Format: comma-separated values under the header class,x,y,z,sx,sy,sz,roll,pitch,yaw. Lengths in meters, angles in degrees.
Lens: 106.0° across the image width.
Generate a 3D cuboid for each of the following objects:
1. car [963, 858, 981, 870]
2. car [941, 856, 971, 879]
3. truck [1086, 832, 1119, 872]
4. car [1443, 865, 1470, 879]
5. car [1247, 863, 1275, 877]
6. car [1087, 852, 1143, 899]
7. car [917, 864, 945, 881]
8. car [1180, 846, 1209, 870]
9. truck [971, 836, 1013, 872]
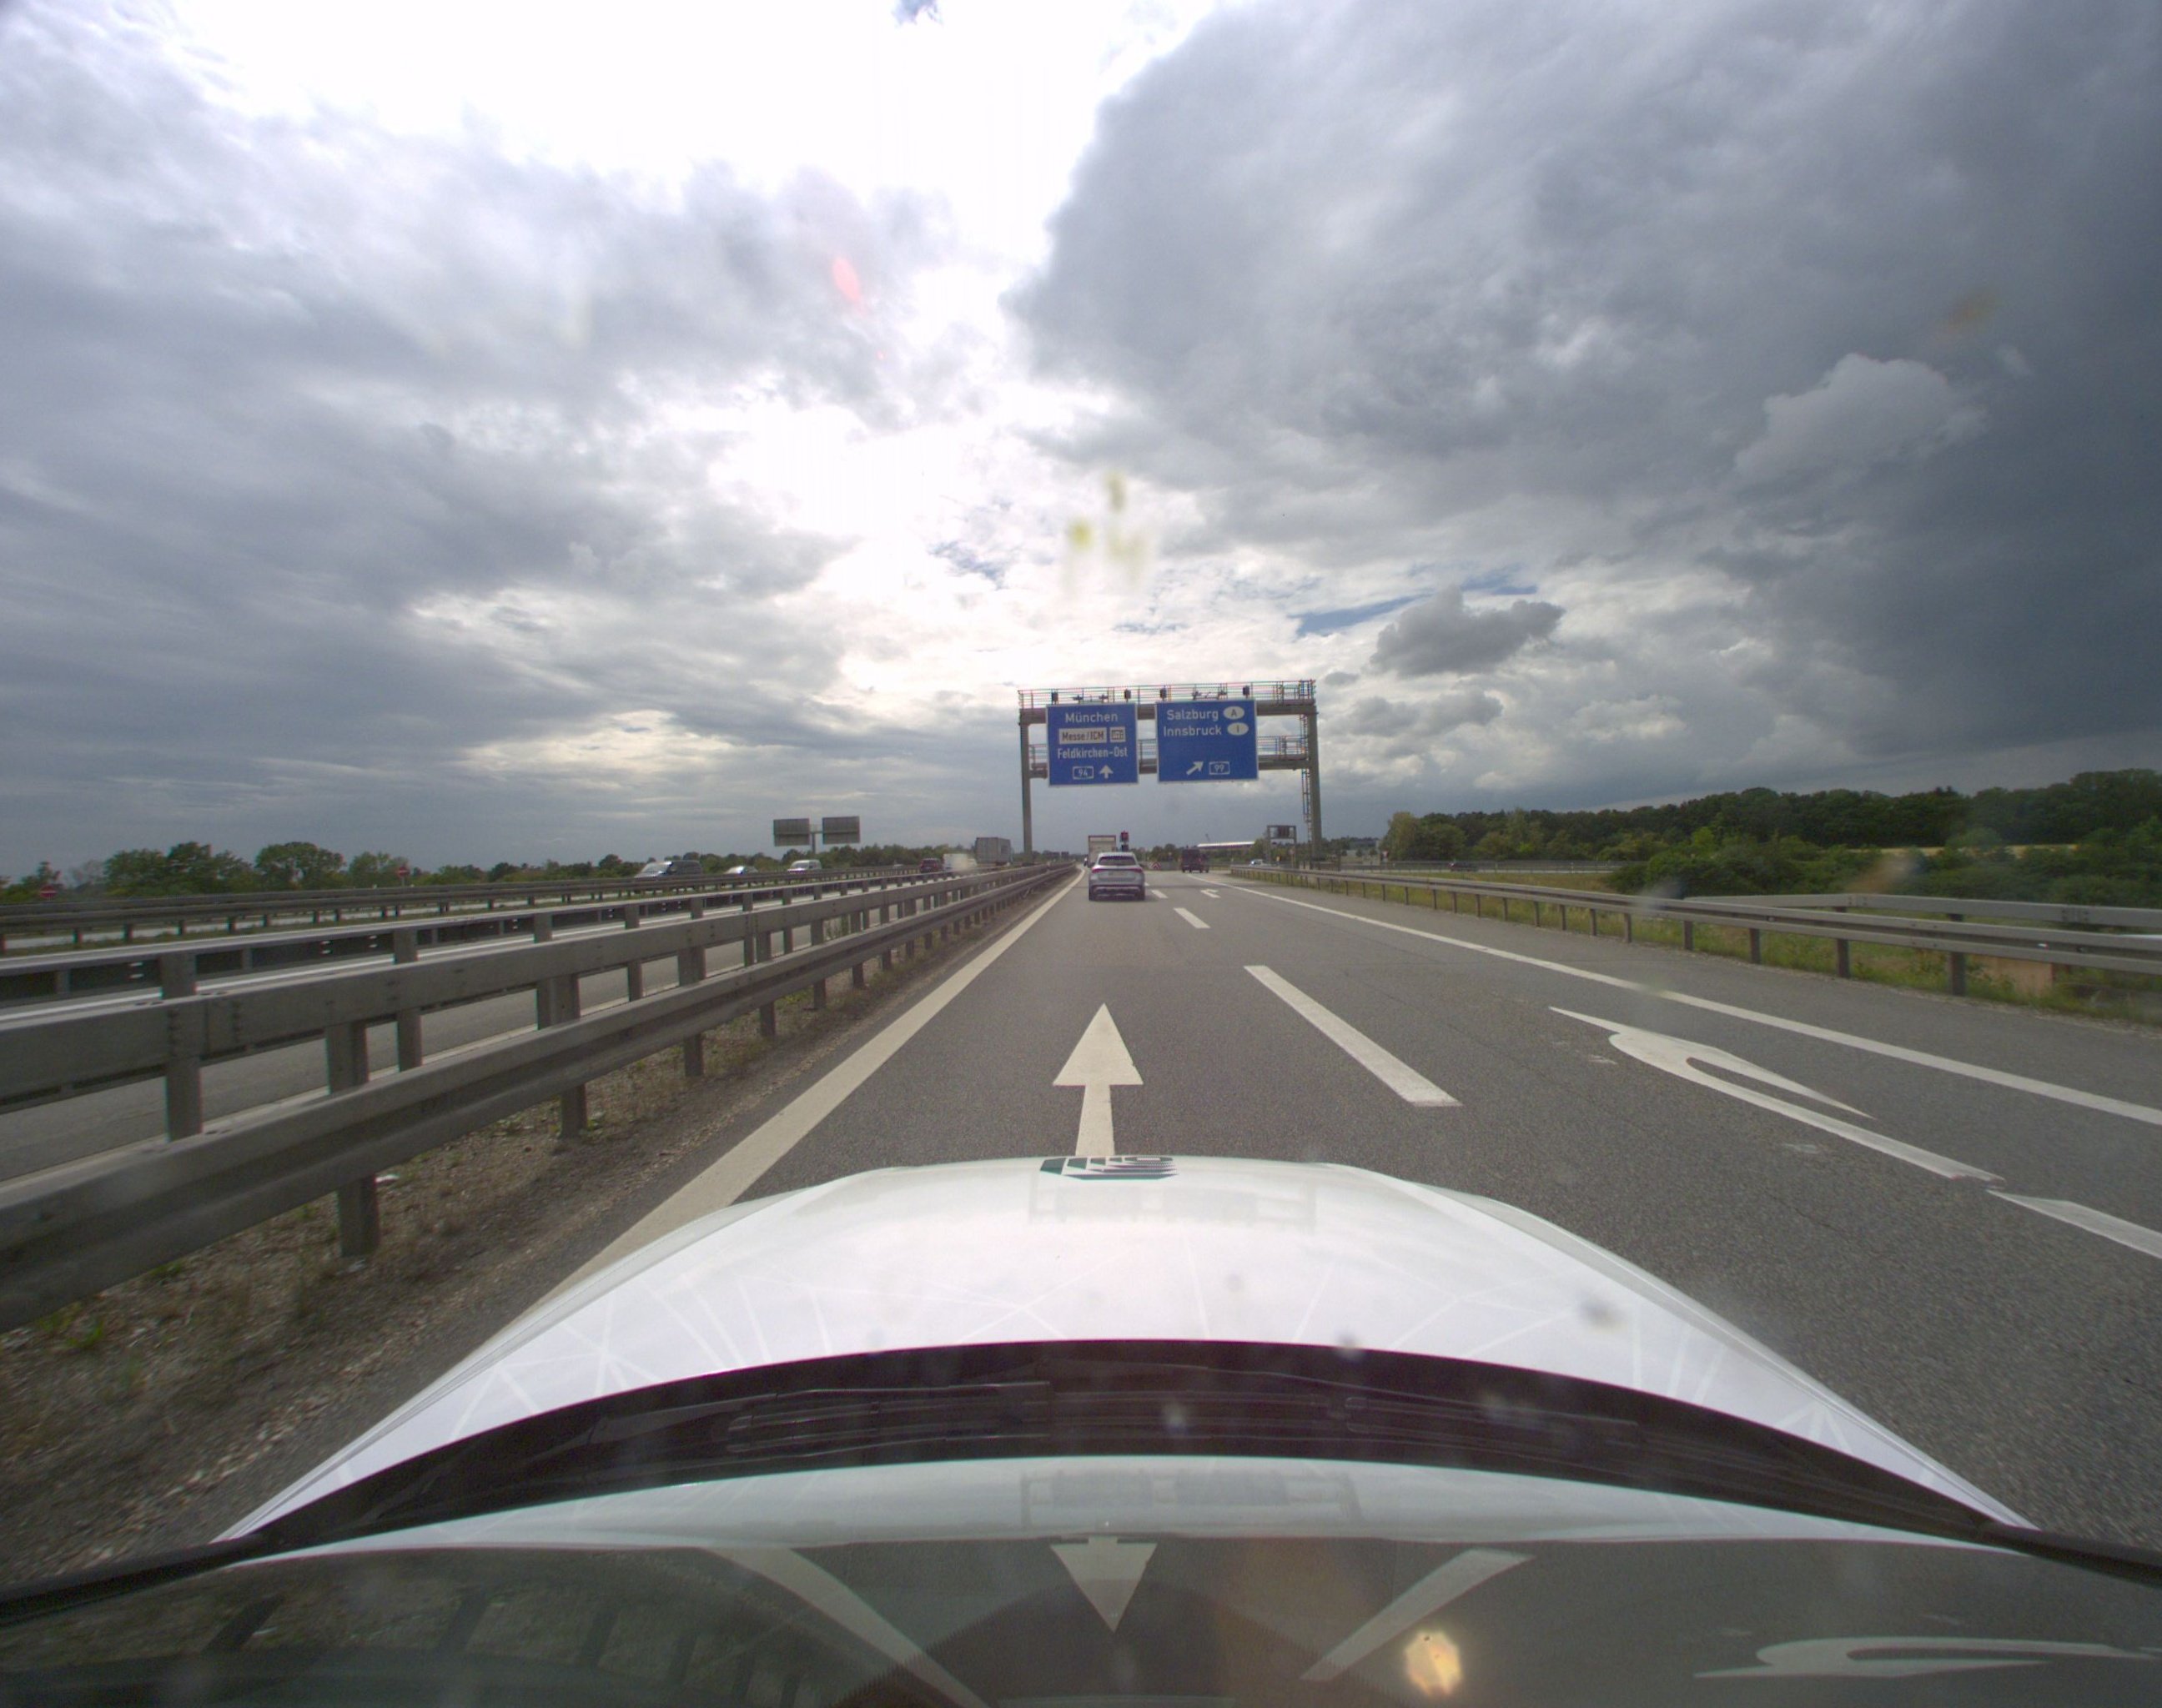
class,x,y,z,sx,sy,sz,roll,pitch,yaw
car,-14.384,1.295,108.022,1.791,1.420,4.001,0,0,1
car,-11.567,1.203,75.621,1.986,2.013,4.376,0,0,2
truck,1.815,-0.067,68.234,2.559,3.126,8.637,0,-1,2
car,58.508,2.752,126.893,4.007,2.014,1.768,3,-1,-26
car,23.068,2.000,104.334,1.974,1.709,4.025,0,0,38
car,1.177,0.681,28.378,1.812,1.514,4.002,0,0,2
car,-15.175,1.867,82.413,1.874,1.546,4.616,0,0,1
car,11.166,0.383,79.703,1.890,2.262,4.672,0,0,20
truck,-10.773,-0.024,100.851,3.172,4.019,16.077,0,0,1
